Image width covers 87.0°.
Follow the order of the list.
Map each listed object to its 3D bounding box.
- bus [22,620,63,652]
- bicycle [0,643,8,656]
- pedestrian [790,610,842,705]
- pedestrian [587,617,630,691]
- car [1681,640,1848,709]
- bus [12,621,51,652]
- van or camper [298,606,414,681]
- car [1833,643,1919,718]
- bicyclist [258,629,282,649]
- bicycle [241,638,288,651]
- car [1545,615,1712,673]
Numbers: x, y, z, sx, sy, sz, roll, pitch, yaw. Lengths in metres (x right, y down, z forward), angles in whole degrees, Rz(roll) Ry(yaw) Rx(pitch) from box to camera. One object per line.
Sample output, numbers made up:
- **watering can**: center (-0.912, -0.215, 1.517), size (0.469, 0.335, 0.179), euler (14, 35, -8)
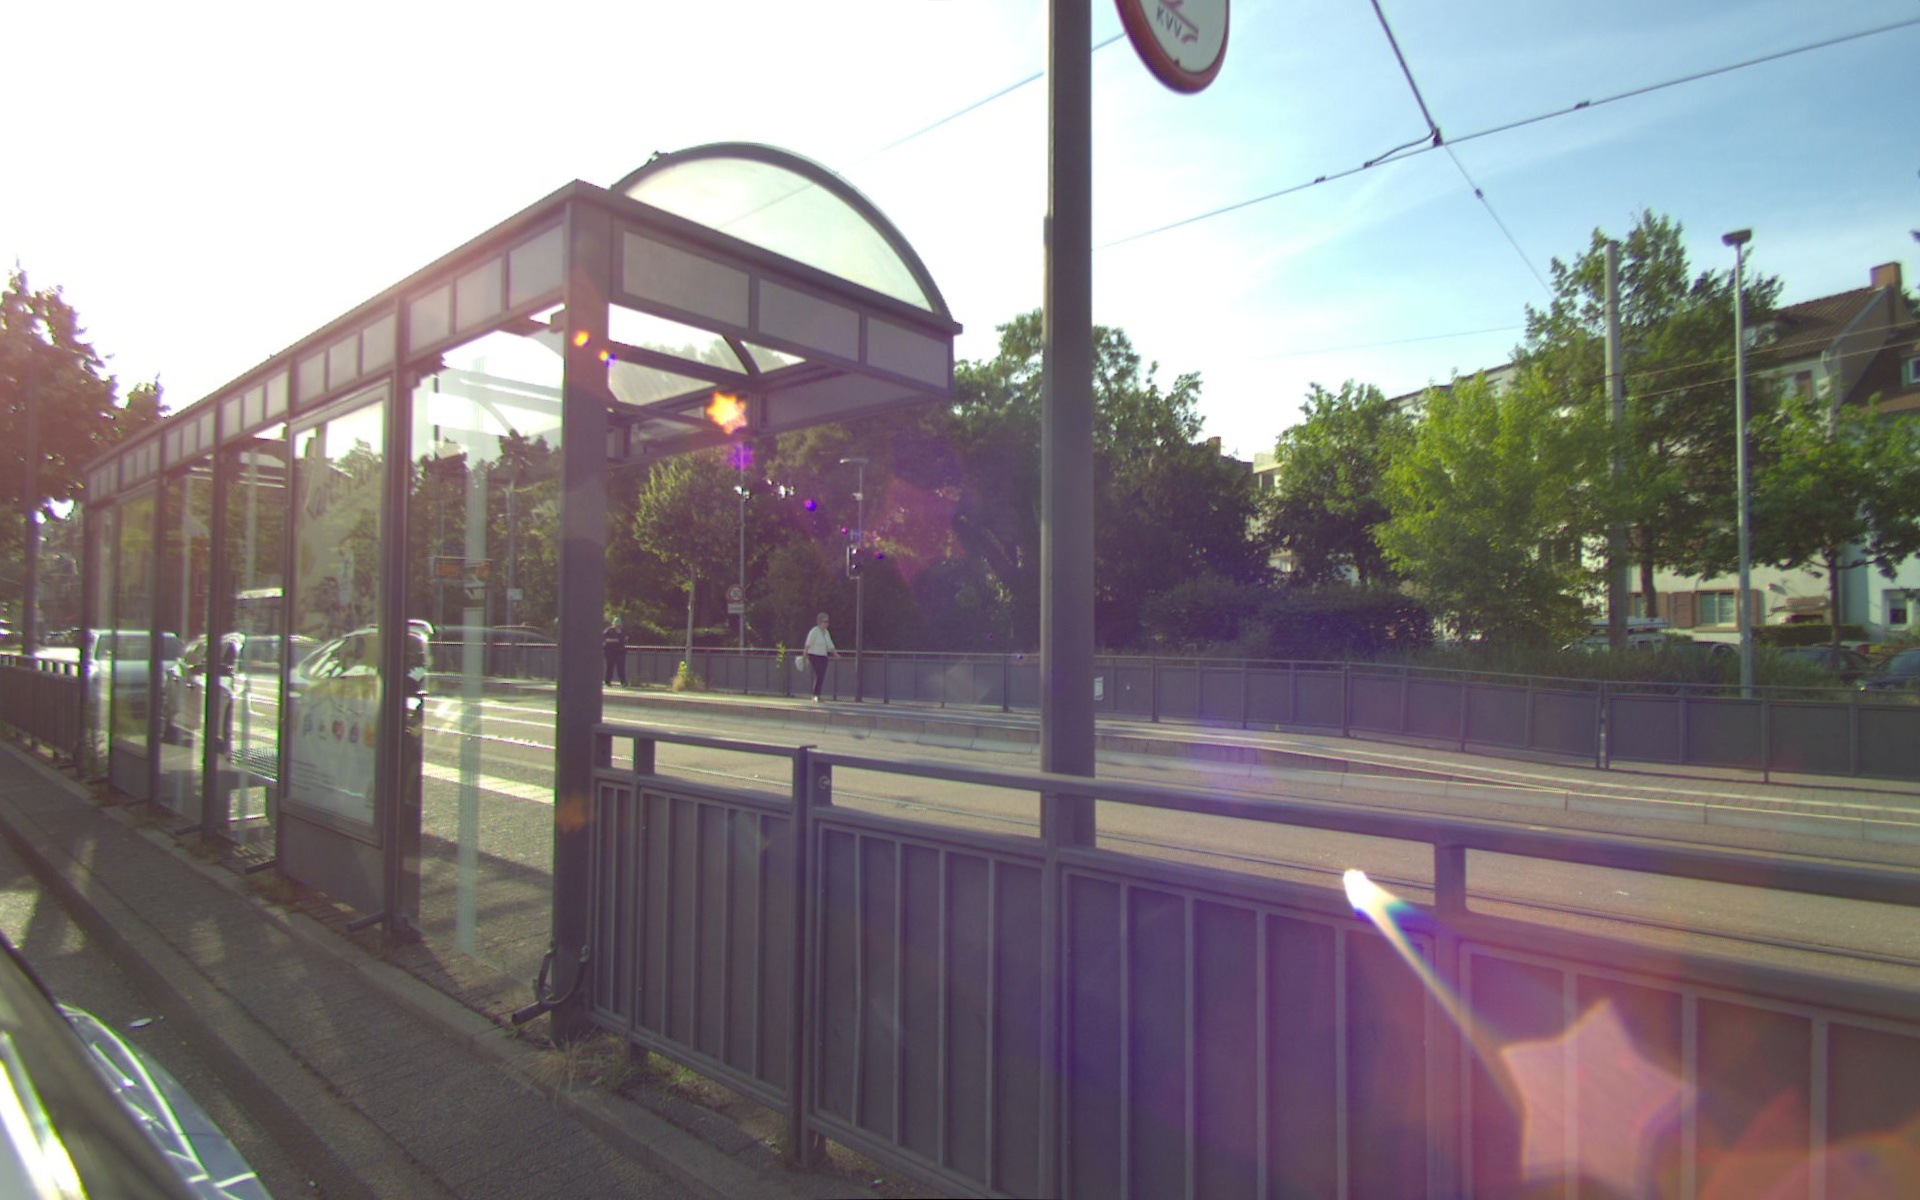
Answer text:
- **bus**: center (-102.674, 3.970, 113.250), size (9.258, 3.461, 2.405), euler (-1, 0, 41)
- **bicycle**: center (-66.799, 3.370, 69.114), size (0.630, 0.888, 2.506), euler (-2, -3, 39)
- **pedestrian**: center (-2.647, 1.064, 18.616), size (0.618, 1.697, 0.613), euler (-2, -6, 41)
- **pedestrian**: center (-8.236, 1.275, 23.735), size (0.618, 1.697, 0.613), euler (-2, -6, 41)
- **car**: center (18.182, 1.625, 22.831), size (3.935, 1.409, 2.004), euler (2, -3, -37)
- **bus**: center (-109.621, 4.265, 119.403), size (9.258, 3.461, 2.405), euler (-1, 0, 41)
- **van or camper**: center (-26.251, 1.806, 43.894), size (6.408, 2.990, 2.494), euler (-1, 0, 41)
- **car**: center (19.634, 1.602, 20.604), size (3.935, 1.409, 2.004), euler (2, -3, -37)
- **bicyclist**: center (-54.828, 3.127, 80.438), size (0.887, 1.559, 1.384), euler (-2, -3, 39)
- **bicycle**: center (-55.161, 3.540, 80.246), size (0.878, 0.988, 2.925), euler (-2, -3, 38)
- **car**: center (18.099, 1.197, 27.430), size (3.930, 1.497, 1.854), euler (1, -3, -22)
